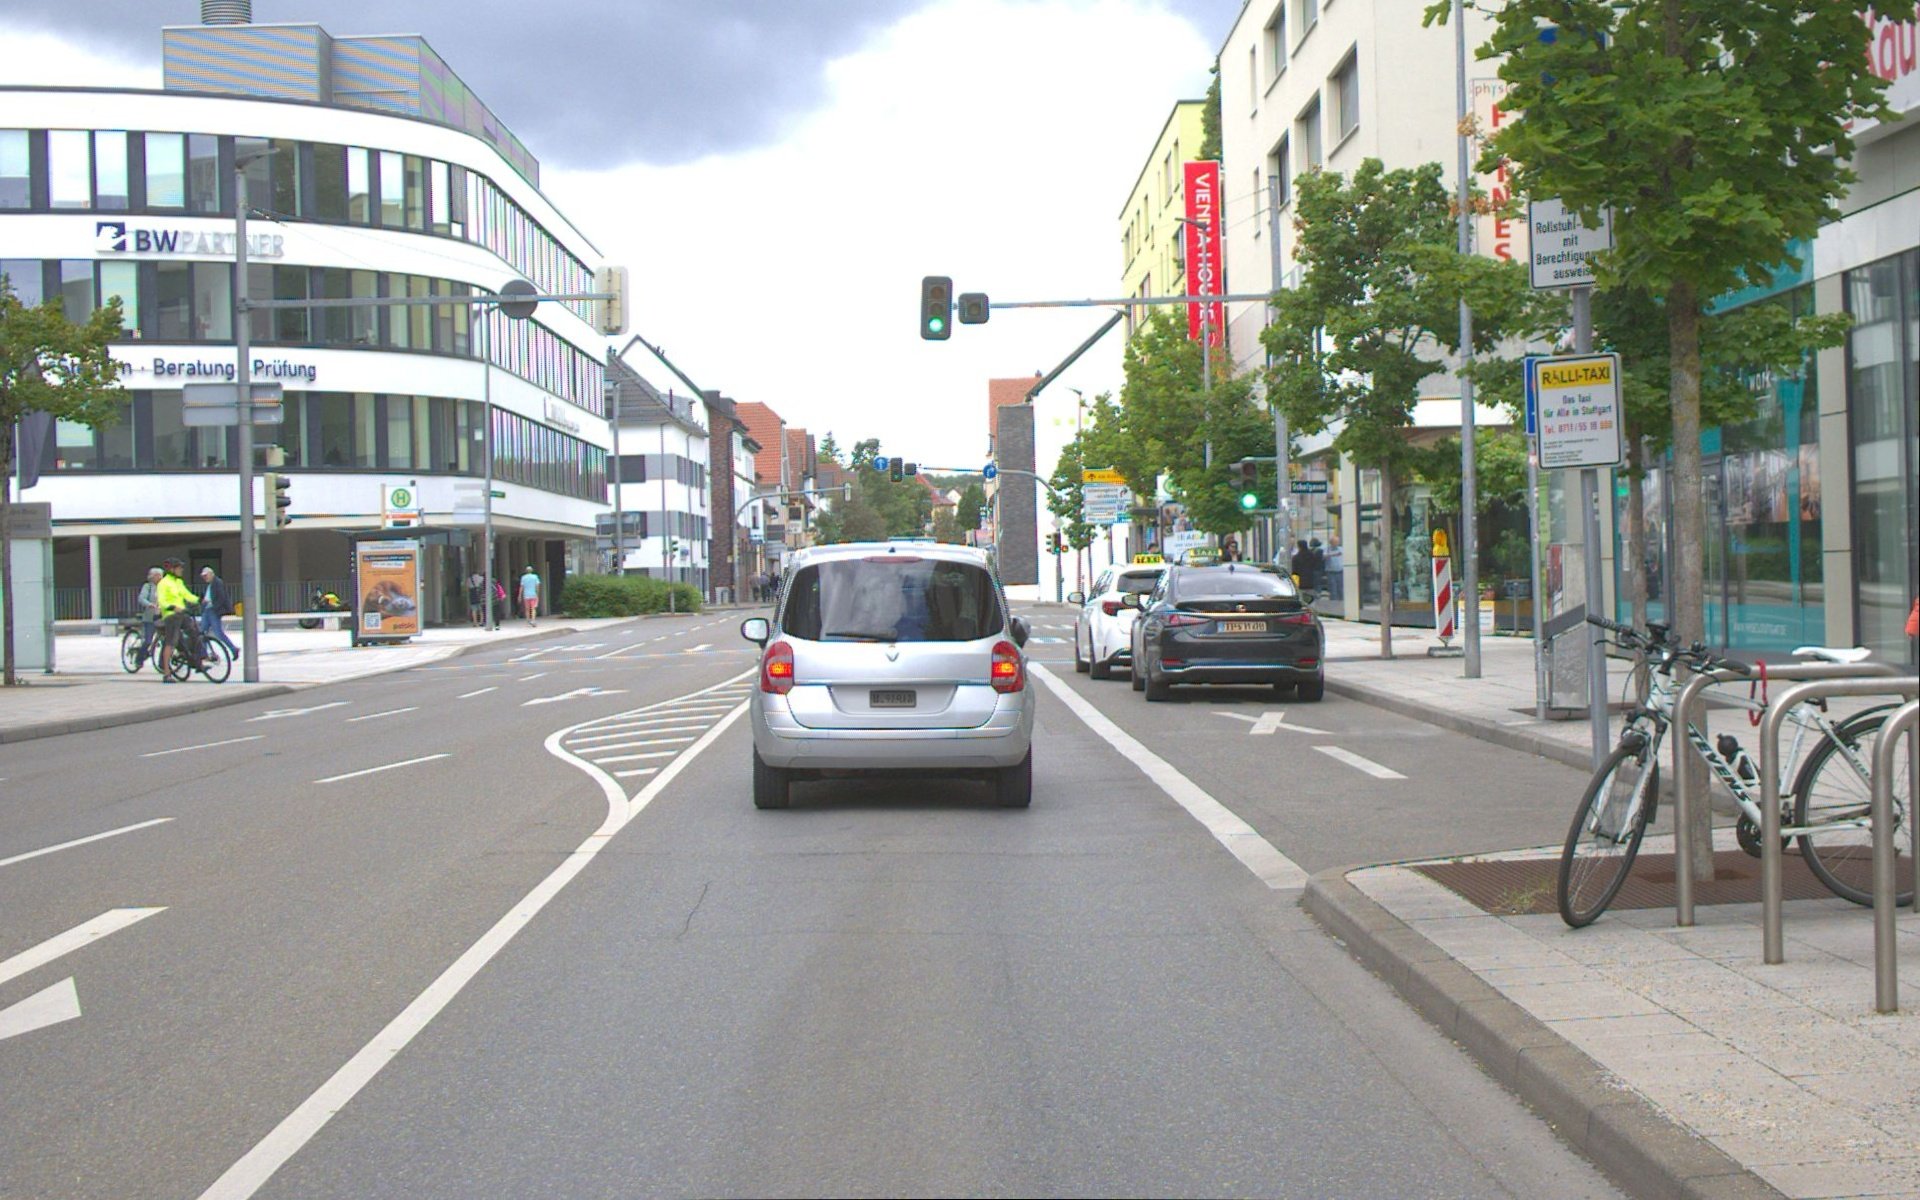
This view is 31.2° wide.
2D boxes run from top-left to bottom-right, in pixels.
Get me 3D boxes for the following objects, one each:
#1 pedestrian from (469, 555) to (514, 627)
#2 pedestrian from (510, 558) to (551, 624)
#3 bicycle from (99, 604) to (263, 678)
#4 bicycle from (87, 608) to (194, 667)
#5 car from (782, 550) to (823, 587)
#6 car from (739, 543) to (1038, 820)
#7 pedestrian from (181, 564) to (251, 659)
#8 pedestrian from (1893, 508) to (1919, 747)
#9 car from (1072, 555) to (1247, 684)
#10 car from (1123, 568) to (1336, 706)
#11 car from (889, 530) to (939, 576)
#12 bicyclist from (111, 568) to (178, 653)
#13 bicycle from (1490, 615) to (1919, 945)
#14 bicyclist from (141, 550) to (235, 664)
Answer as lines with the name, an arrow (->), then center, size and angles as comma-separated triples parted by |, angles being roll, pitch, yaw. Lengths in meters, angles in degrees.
pedestrian -> -12.140, -0.244, 89.089 | 0.960, 1.827, 1.250 | -1, 1, -1
pedestrian -> -12.077, -0.267, 96.784 | 0.960, 1.827, 1.250 | -1, 1, -1
bicycle -> -11.582, 0.597, 51.016 | 1.006, 1.015, 3.129 | 1, 0, -41
bicycle -> -13.077, 0.589, 54.795 | 0.827, 0.895, 2.525 | -1, 1, -33
car -> -8.980, -1.808, 196.198 | 2.170, 2.007, 4.258 | -1, 1, -1
car -> -0.505, 0.440, 21.365 | 1.669, 1.549, 3.642 | 1, 1, -3
pedestrian -> -14.804, 0.222, 68.439 | 1.246, 1.827, 0.964 | -2, 1, -7
pedestrian -> 6.638, 0.162, 22.537 | 0.710, 1.569, 0.812 | -4, 1, -1
car -> 2.445, 0.205, 42.992 | 1.877, 1.503, 4.000 | 1, 1, -1
car -> 2.805, 0.357, 36.576 | 1.877, 1.330, 4.000 | 1, 1, -1
car -> -2.066, -2.117, 155.362 | 2.170, 2.007, 4.258 | -1, 1, -1
bicyclist -> -12.950, 0.167, 54.590 | 0.827, 1.322, 0.652 | -1, 1, -33
bicycle -> 2.893, 0.621, 12.295 | 1.825, 1.071, 0.752 | -2, 1, -2
bicyclist -> -11.415, 0.101, 50.838 | 1.006, 1.655, 0.932 | 1, 0, -41
